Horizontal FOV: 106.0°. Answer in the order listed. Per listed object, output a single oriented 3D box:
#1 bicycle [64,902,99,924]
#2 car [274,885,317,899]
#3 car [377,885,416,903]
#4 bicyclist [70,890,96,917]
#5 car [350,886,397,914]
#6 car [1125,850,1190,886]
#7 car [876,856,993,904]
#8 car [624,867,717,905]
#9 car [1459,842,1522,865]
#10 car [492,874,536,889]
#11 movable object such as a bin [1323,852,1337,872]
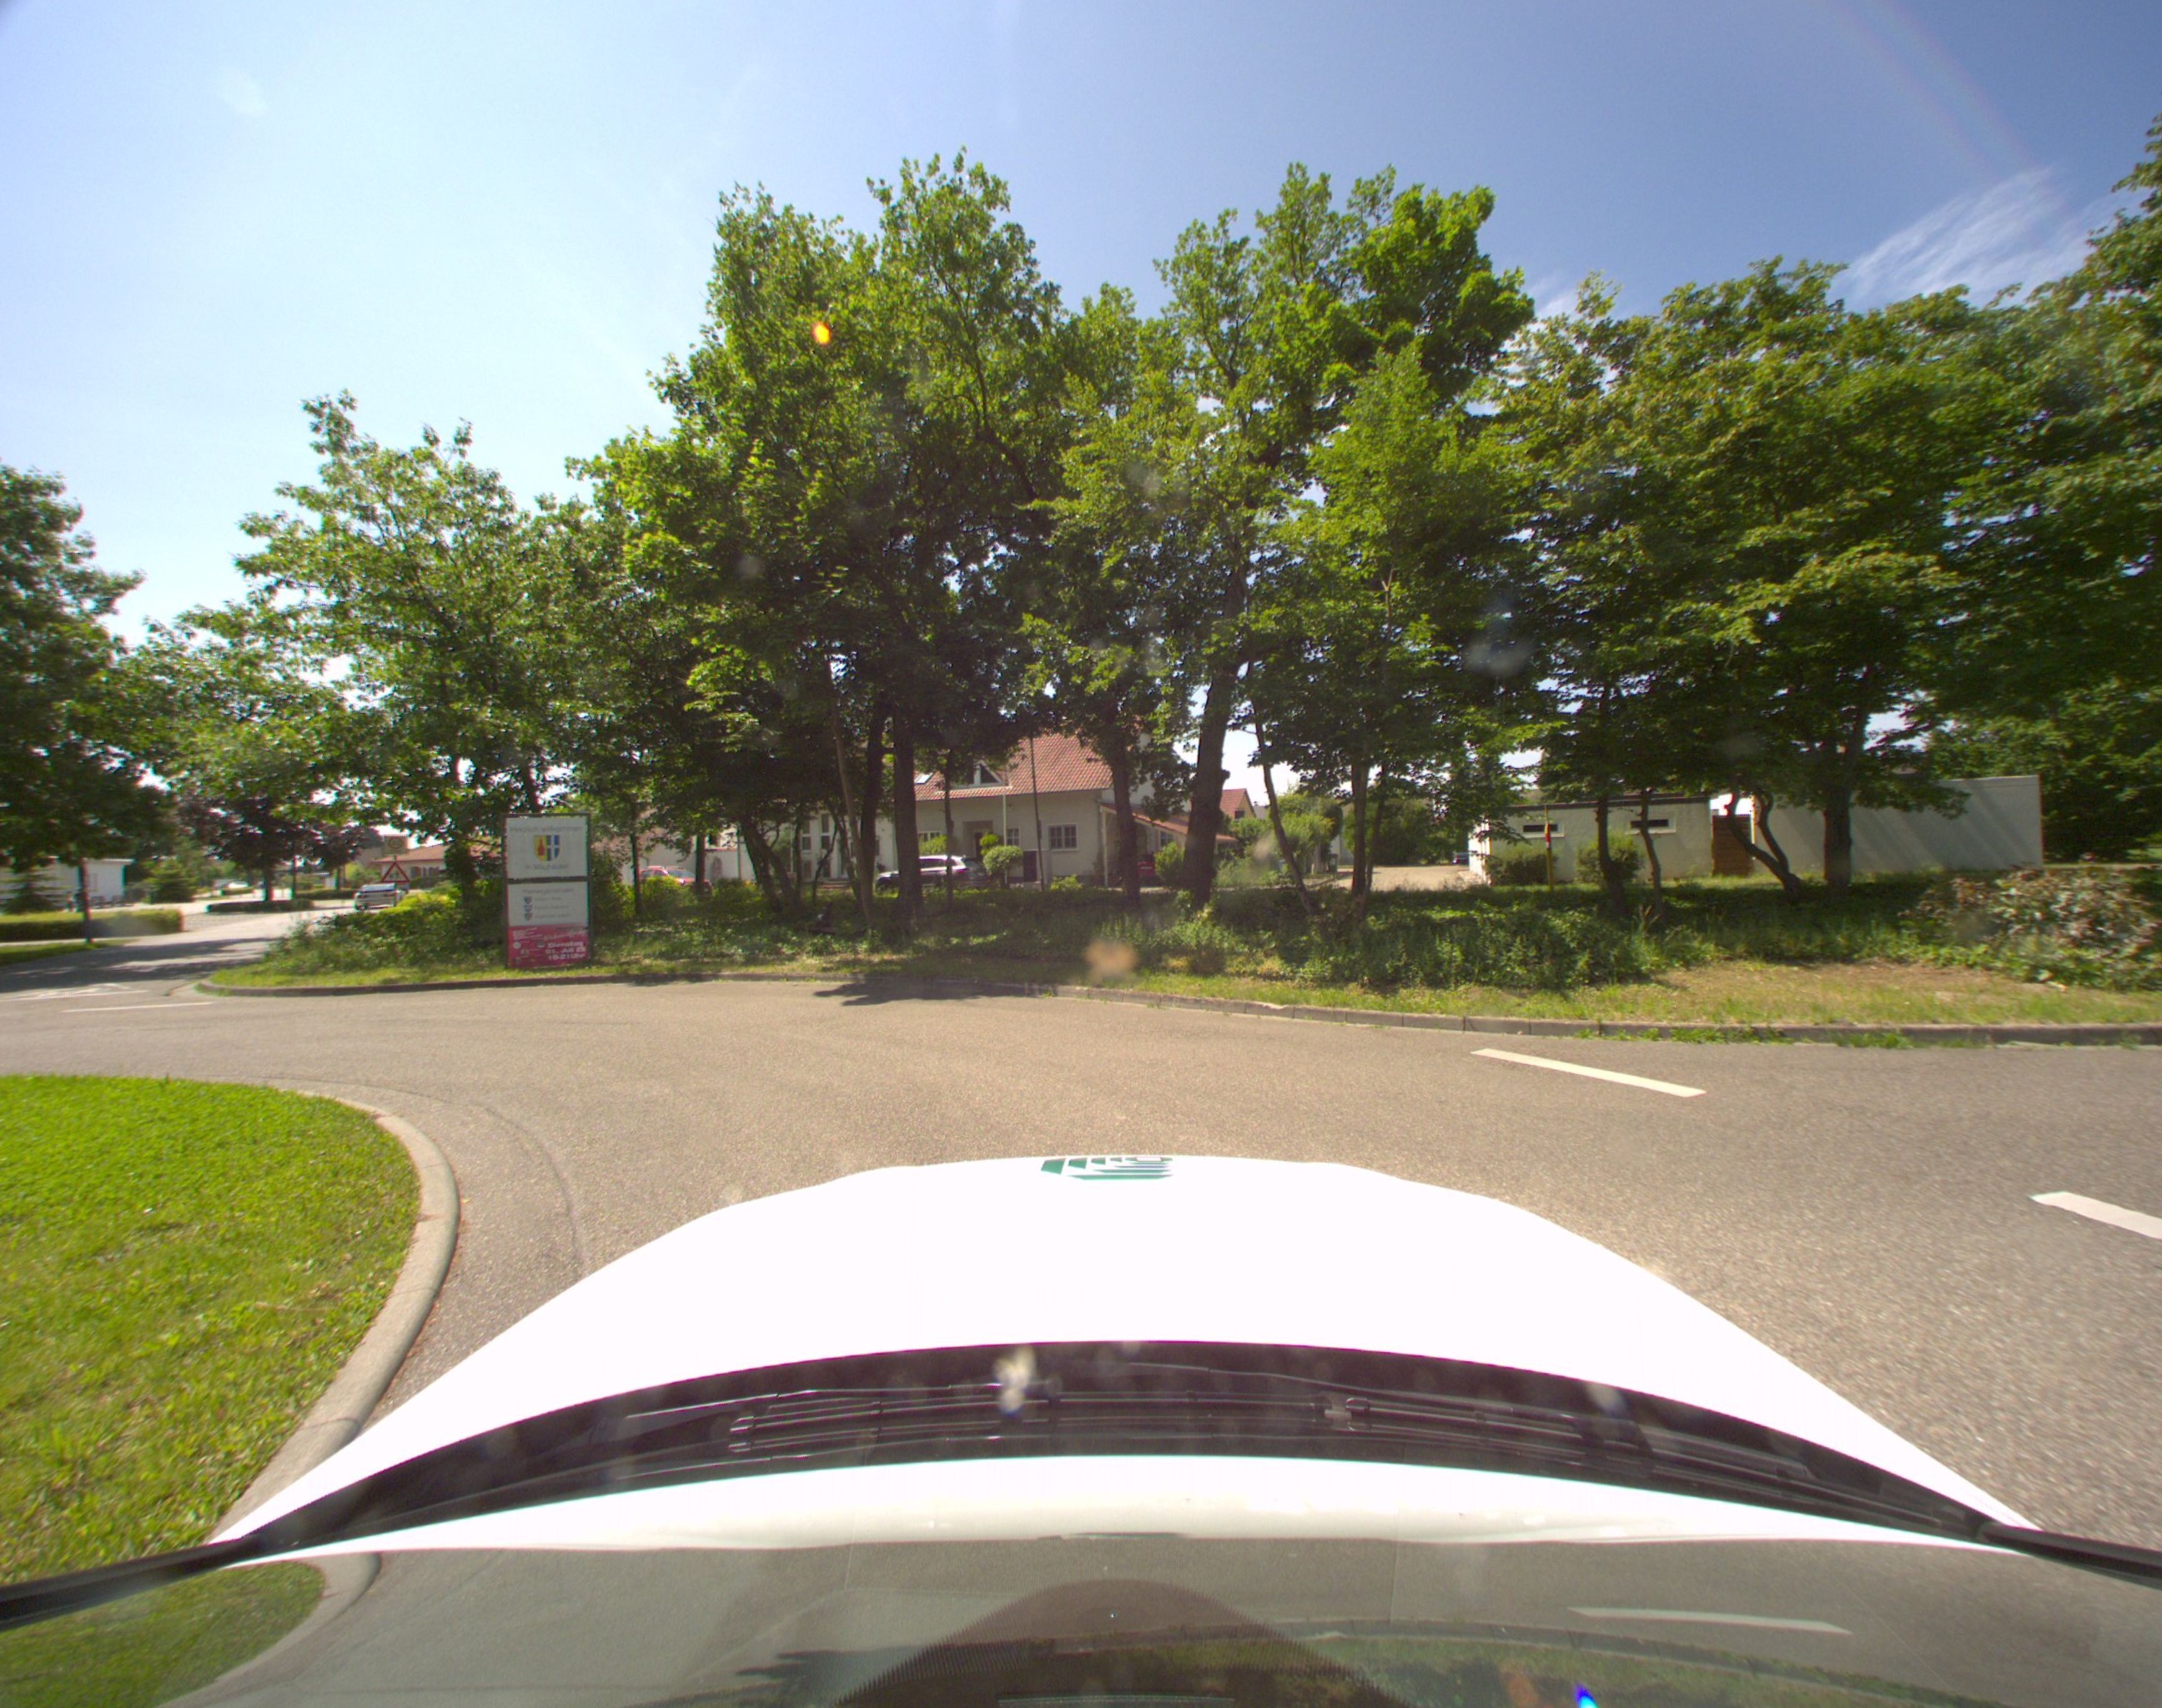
[{"bbox_3d":[-45.665,2.691,37.226,0.601,0.929,1.602,-2,0,-36],"label":"bicycle"},{"bbox_3d":[-83.806,4.076,86.877,3.951,1.288,2.011,-2,0,24],"label":"car"},{"bbox_3d":[-61.173,3.560,72.762,3.948,1.486,1.644,-2,0,35],"label":"car"},{"bbox_3d":[-45.779,2.258,37.365,0.602,1.164,0.641,-2,0,-37],"label":"bicyclist"},{"bbox_3d":[-36.288,2.347,41.827,1.627,1.288,3.516,-2,-1,-38],"label":"car"},{"bbox_3d":[3.427,0.584,35.850,1.664,1.385,3.715,-2,0,25],"label":"car"},{"bbox_3d":[-5.613,0.995,31.226,4.094,1.705,1.675,-2,-1,21],"label":"car"},{"bbox_3d":[-18.918,1.483,37.529,3.977,1.601,1.676,-2,-1,25],"label":"car"},{"bbox_3d":[24.573,-0.036,48.964,3.240,1.253,1.581,-2,0,21],"label":"car"},{"bbox_3d":[-64.161,3.071,92.173,1.836,1.542,3.848,-2,0,12],"label":"car"},{"bbox_3d":[13.877,0.448,45.427,0.651,1.112,0.459,-2,0,21],"label":"movable object such as a bin"}]
